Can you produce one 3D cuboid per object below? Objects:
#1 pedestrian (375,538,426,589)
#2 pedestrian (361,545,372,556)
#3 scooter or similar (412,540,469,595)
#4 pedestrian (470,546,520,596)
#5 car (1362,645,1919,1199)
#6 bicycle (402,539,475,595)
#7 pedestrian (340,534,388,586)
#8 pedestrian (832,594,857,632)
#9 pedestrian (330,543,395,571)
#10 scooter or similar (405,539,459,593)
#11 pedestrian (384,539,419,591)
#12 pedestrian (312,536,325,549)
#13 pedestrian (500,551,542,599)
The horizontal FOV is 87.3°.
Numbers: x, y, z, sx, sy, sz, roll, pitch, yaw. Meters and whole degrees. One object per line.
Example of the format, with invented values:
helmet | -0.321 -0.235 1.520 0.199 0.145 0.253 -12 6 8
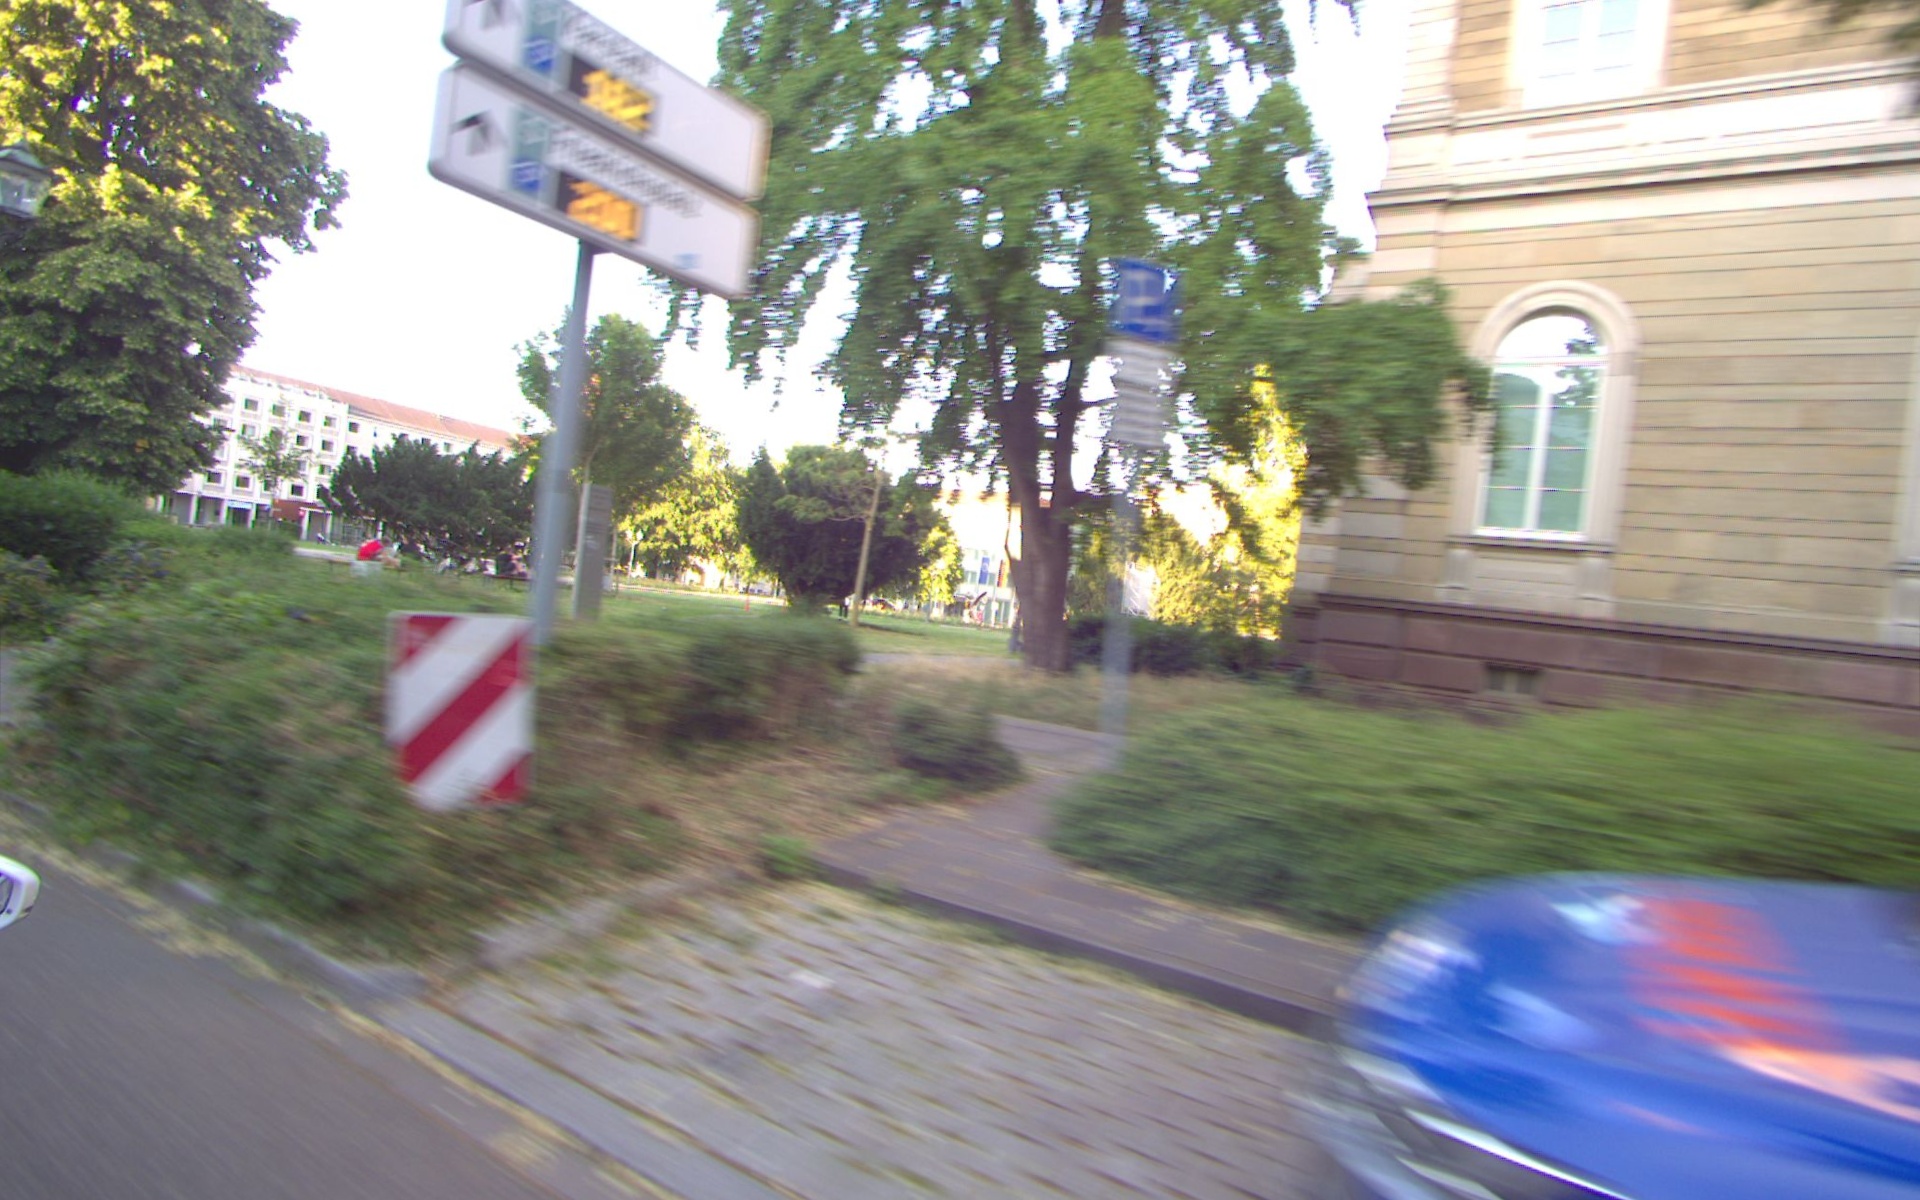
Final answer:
pedestrian | -14.532 -0.946 26.132 0.777 1.206 0.807 7 1 34
pedestrian | -52.951 -4.415 89.807 0.609 0.936 0.512 6 1 6
scooter or similar | -13.088 -0.801 25.366 0.410 1.261 1.220 6 0 18
pedestrian | -13.983 -0.858 30.253 0.868 1.364 0.920 6 1 16
car | 3.029 1.098 1.236 4.532 1.509 1.724 6 3 30
bicycle | -14.136 -0.907 27.261 1.983 1.316 0.620 6 1 27
pedestrian | -15.182 -1.016 25.634 0.735 1.206 0.722 7 1 34
pedestrian | -5.679 0.626 49.354 0.745 1.769 0.772 6 1 28
pedestrian | -14.754 -1.062 24.832 1.351 0.557 0.541 6 3 12
scooter or similar | -13.536 -0.854 25.819 0.410 1.261 1.221 6 0 15
pedestrian | -13.941 -0.869 25.112 0.657 1.206 0.789 6 1 -31
pedestrian | -59.443 -5.339 93.248 0.893 1.091 0.614 6 1 -42
pedestrian | -13.533 -0.765 31.039 0.773 1.364 0.761 6 1 15
